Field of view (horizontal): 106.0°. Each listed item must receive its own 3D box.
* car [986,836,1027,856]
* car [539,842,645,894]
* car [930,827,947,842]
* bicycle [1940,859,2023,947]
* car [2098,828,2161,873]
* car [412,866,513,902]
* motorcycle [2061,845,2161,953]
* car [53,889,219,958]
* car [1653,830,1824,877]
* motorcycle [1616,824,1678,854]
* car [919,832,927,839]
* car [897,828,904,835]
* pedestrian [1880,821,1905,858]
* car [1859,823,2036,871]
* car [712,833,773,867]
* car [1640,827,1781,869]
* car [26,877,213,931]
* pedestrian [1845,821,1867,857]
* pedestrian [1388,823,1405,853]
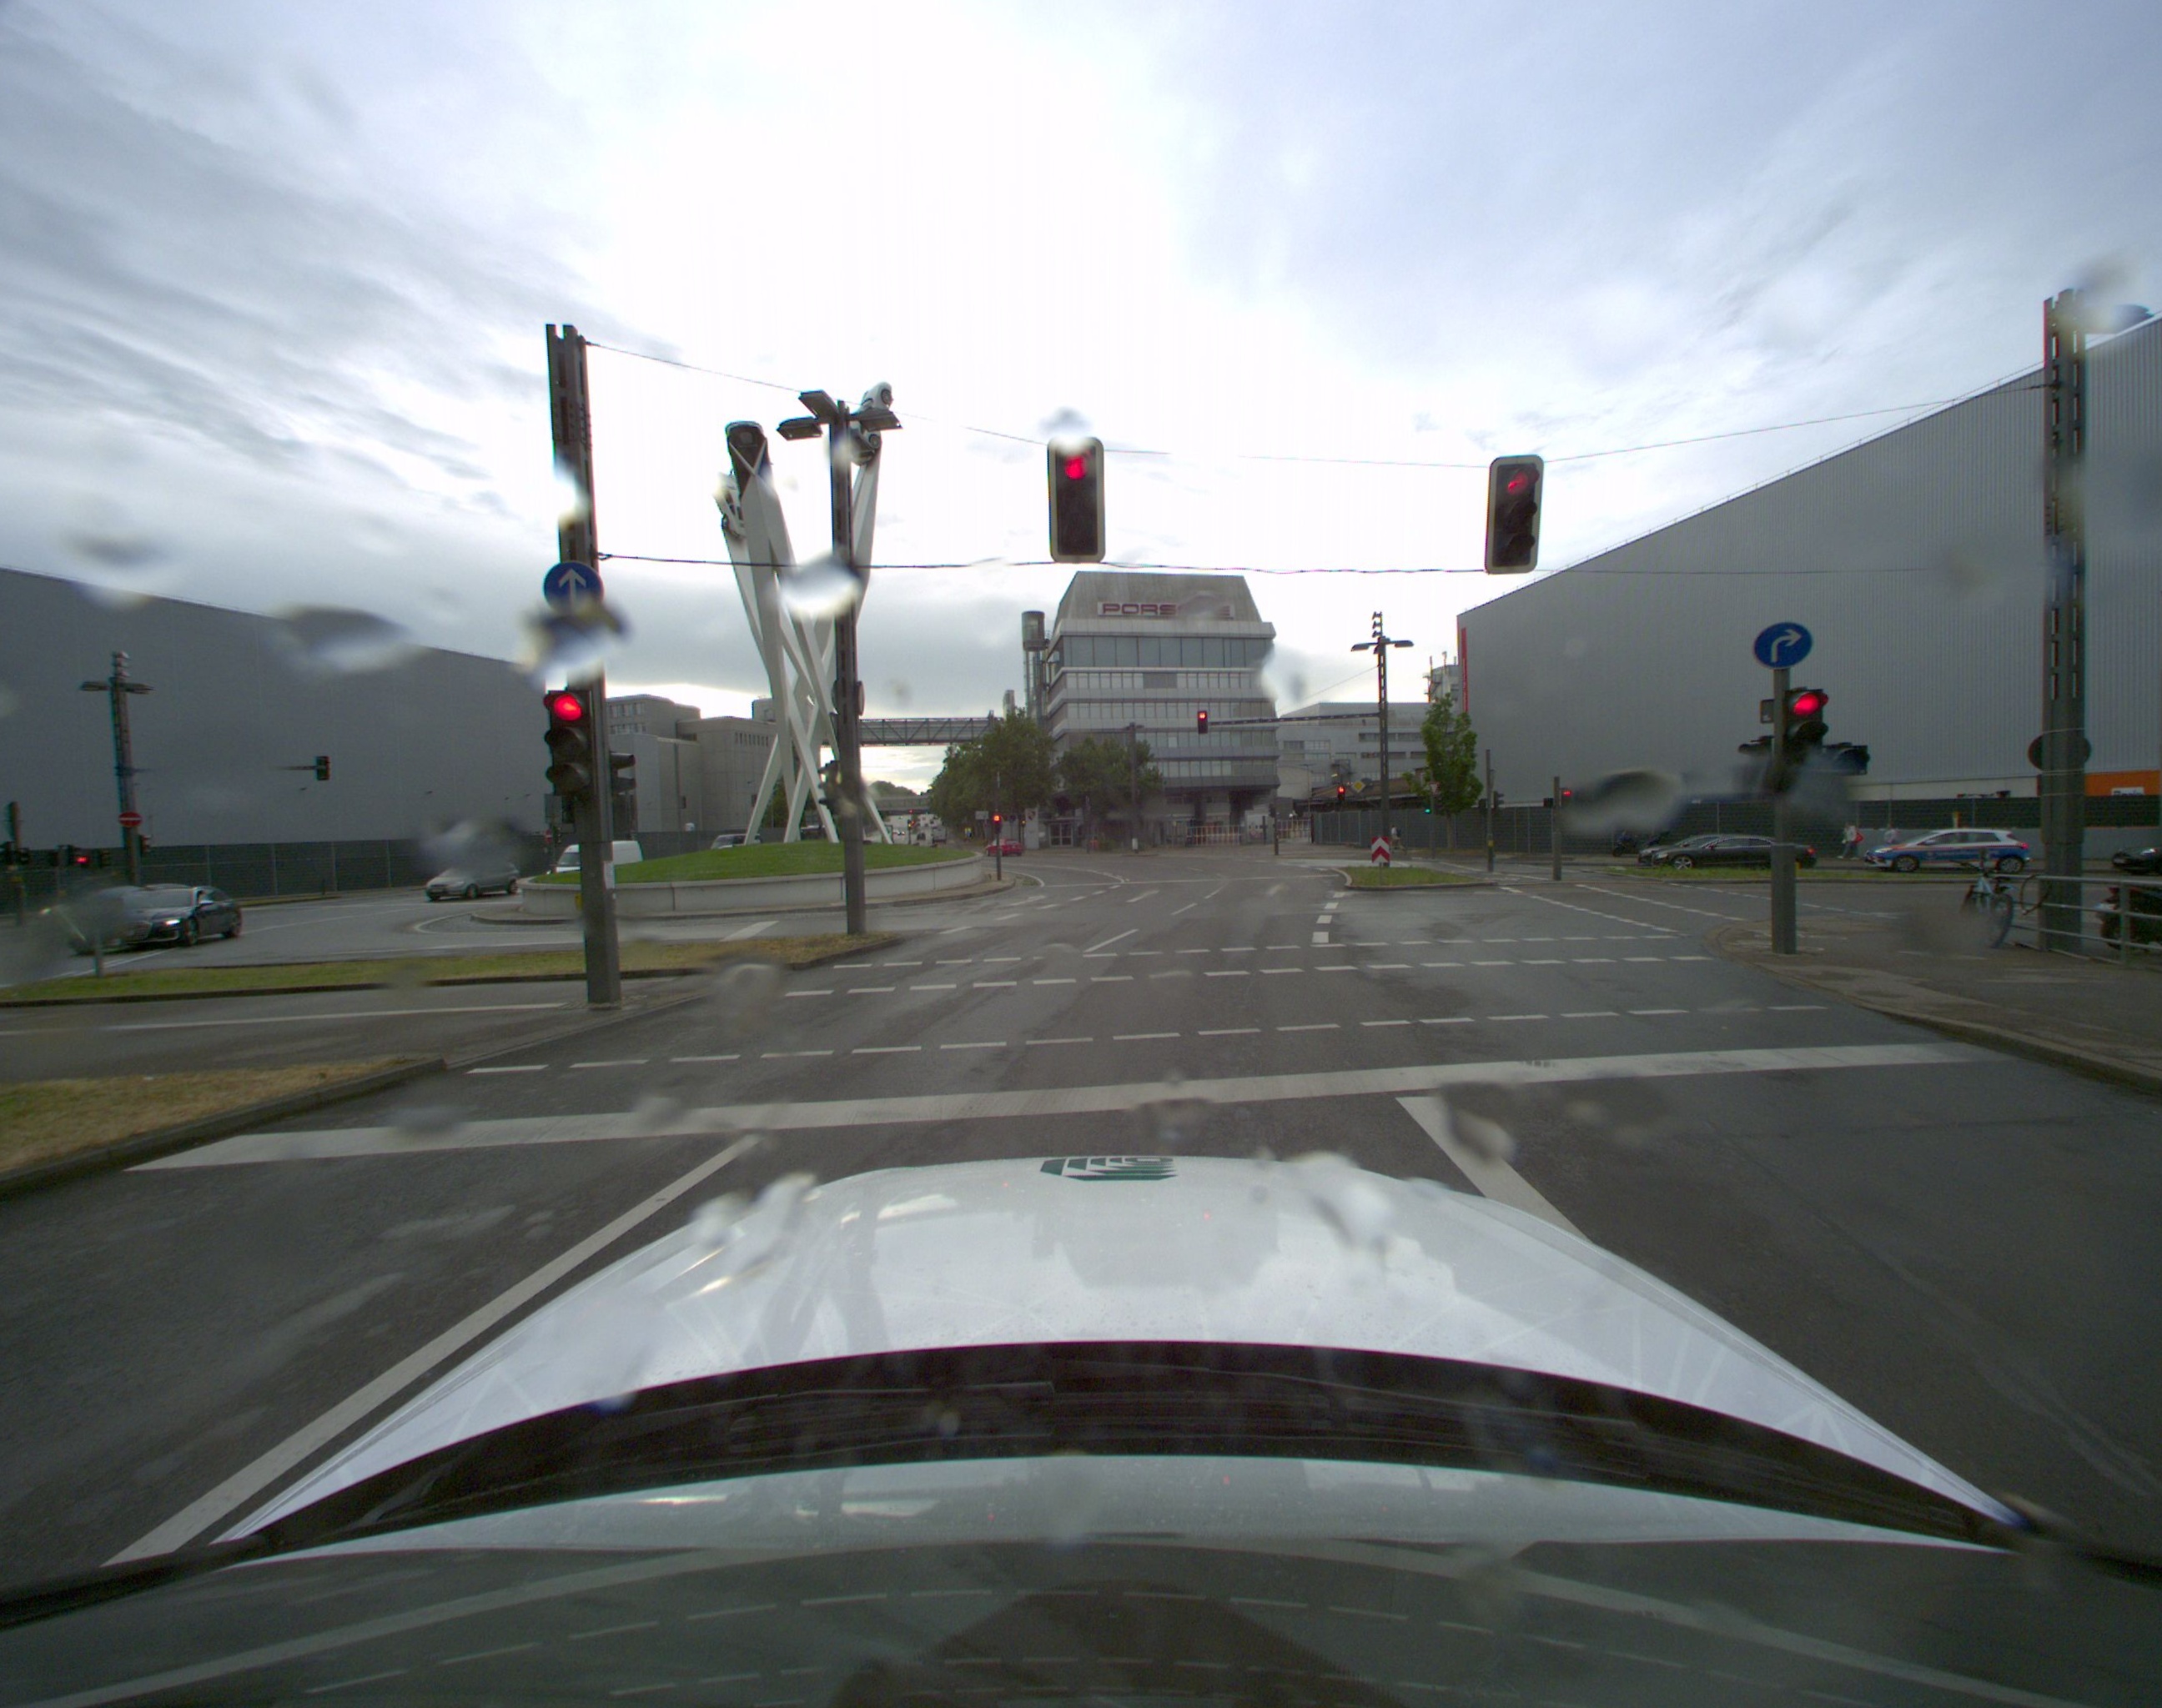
[{"bbox_3d":[-6.012,-0.636,65.153,1.784,1.464,3.695,-1,-1,-32],"label":"car"},{"bbox_3d":[-25.128,0.644,42.141,1.986,2.447,5.428,-2,1,1],"label":"car"},{"bbox_3d":[-21.860,-2.927,124.657,2.235,2.108,4.931,-2,-1,-13],"label":"car"},{"bbox_3d":[12.565,0.650,11.402,0.381,1.097,1.762,-2,0,35],"label":"bicycle"},{"bbox_3d":[35.664,-0.124,25.800,3.948,1.392,1.769,0,2,32],"label":"car"},{"bbox_3d":[-29.266,1.372,38.704,1.829,1.494,3.996,-2,0,-3],"label":"car"},{"bbox_3d":[15.310,0.601,11.270,2.212,1.452,0.759,-1,0,13],"label":"motorcycle"},{"bbox_3d":[-22.958,1.608,19.976,1.860,1.338,3.954,-2,0,-38],"label":"car"},{"bbox_3d":[23.064,-0.047,28.806,4.525,1.539,1.769,0,2,32],"label":"car"},{"bbox_3d":[26.196,-0.691,37.741,2.329,1.344,0.657,-1,1,31],"label":"motorcycle"},{"bbox_3d":[-30.360,-3.571,156.603,1.558,1.288,3.400,-2,-1,-12],"label":"car"},{"bbox_3d":[-48.350,-6.059,217.878,1.628,1.816,3.718,-1,1,-12],"label":"car"},{"bbox_3d":[32.907,-0.586,33.041,0.642,1.481,0.442,-1,0,36],"label":"pedestrian"},{"bbox_3d":[30.531,-0.263,28.876,3.930,1.601,1.924,0,1,32],"label":"car"},{"bbox_3d":[-29.963,-0.354,72.402,1.958,2.820,7.134,-2,0,3],"label":"car"},{"bbox_3d":[24.650,-0.257,32.084,4.244,1.539,1.769,0,2,32],"label":"car"},{"bbox_3d":[-32.220,1.618,27.517,1.837,1.472,4.489,-2,0,-16],"label":"car"},{"bbox_3d":[32.220,-0.613,33.854,0.605,1.481,0.426,-1,0,38],"label":"pedestrian"},{"bbox_3d":[17.466,-0.861,45.091,0.801,1.611,0.773,-2,-1,19],"label":"pedestrian"}]
